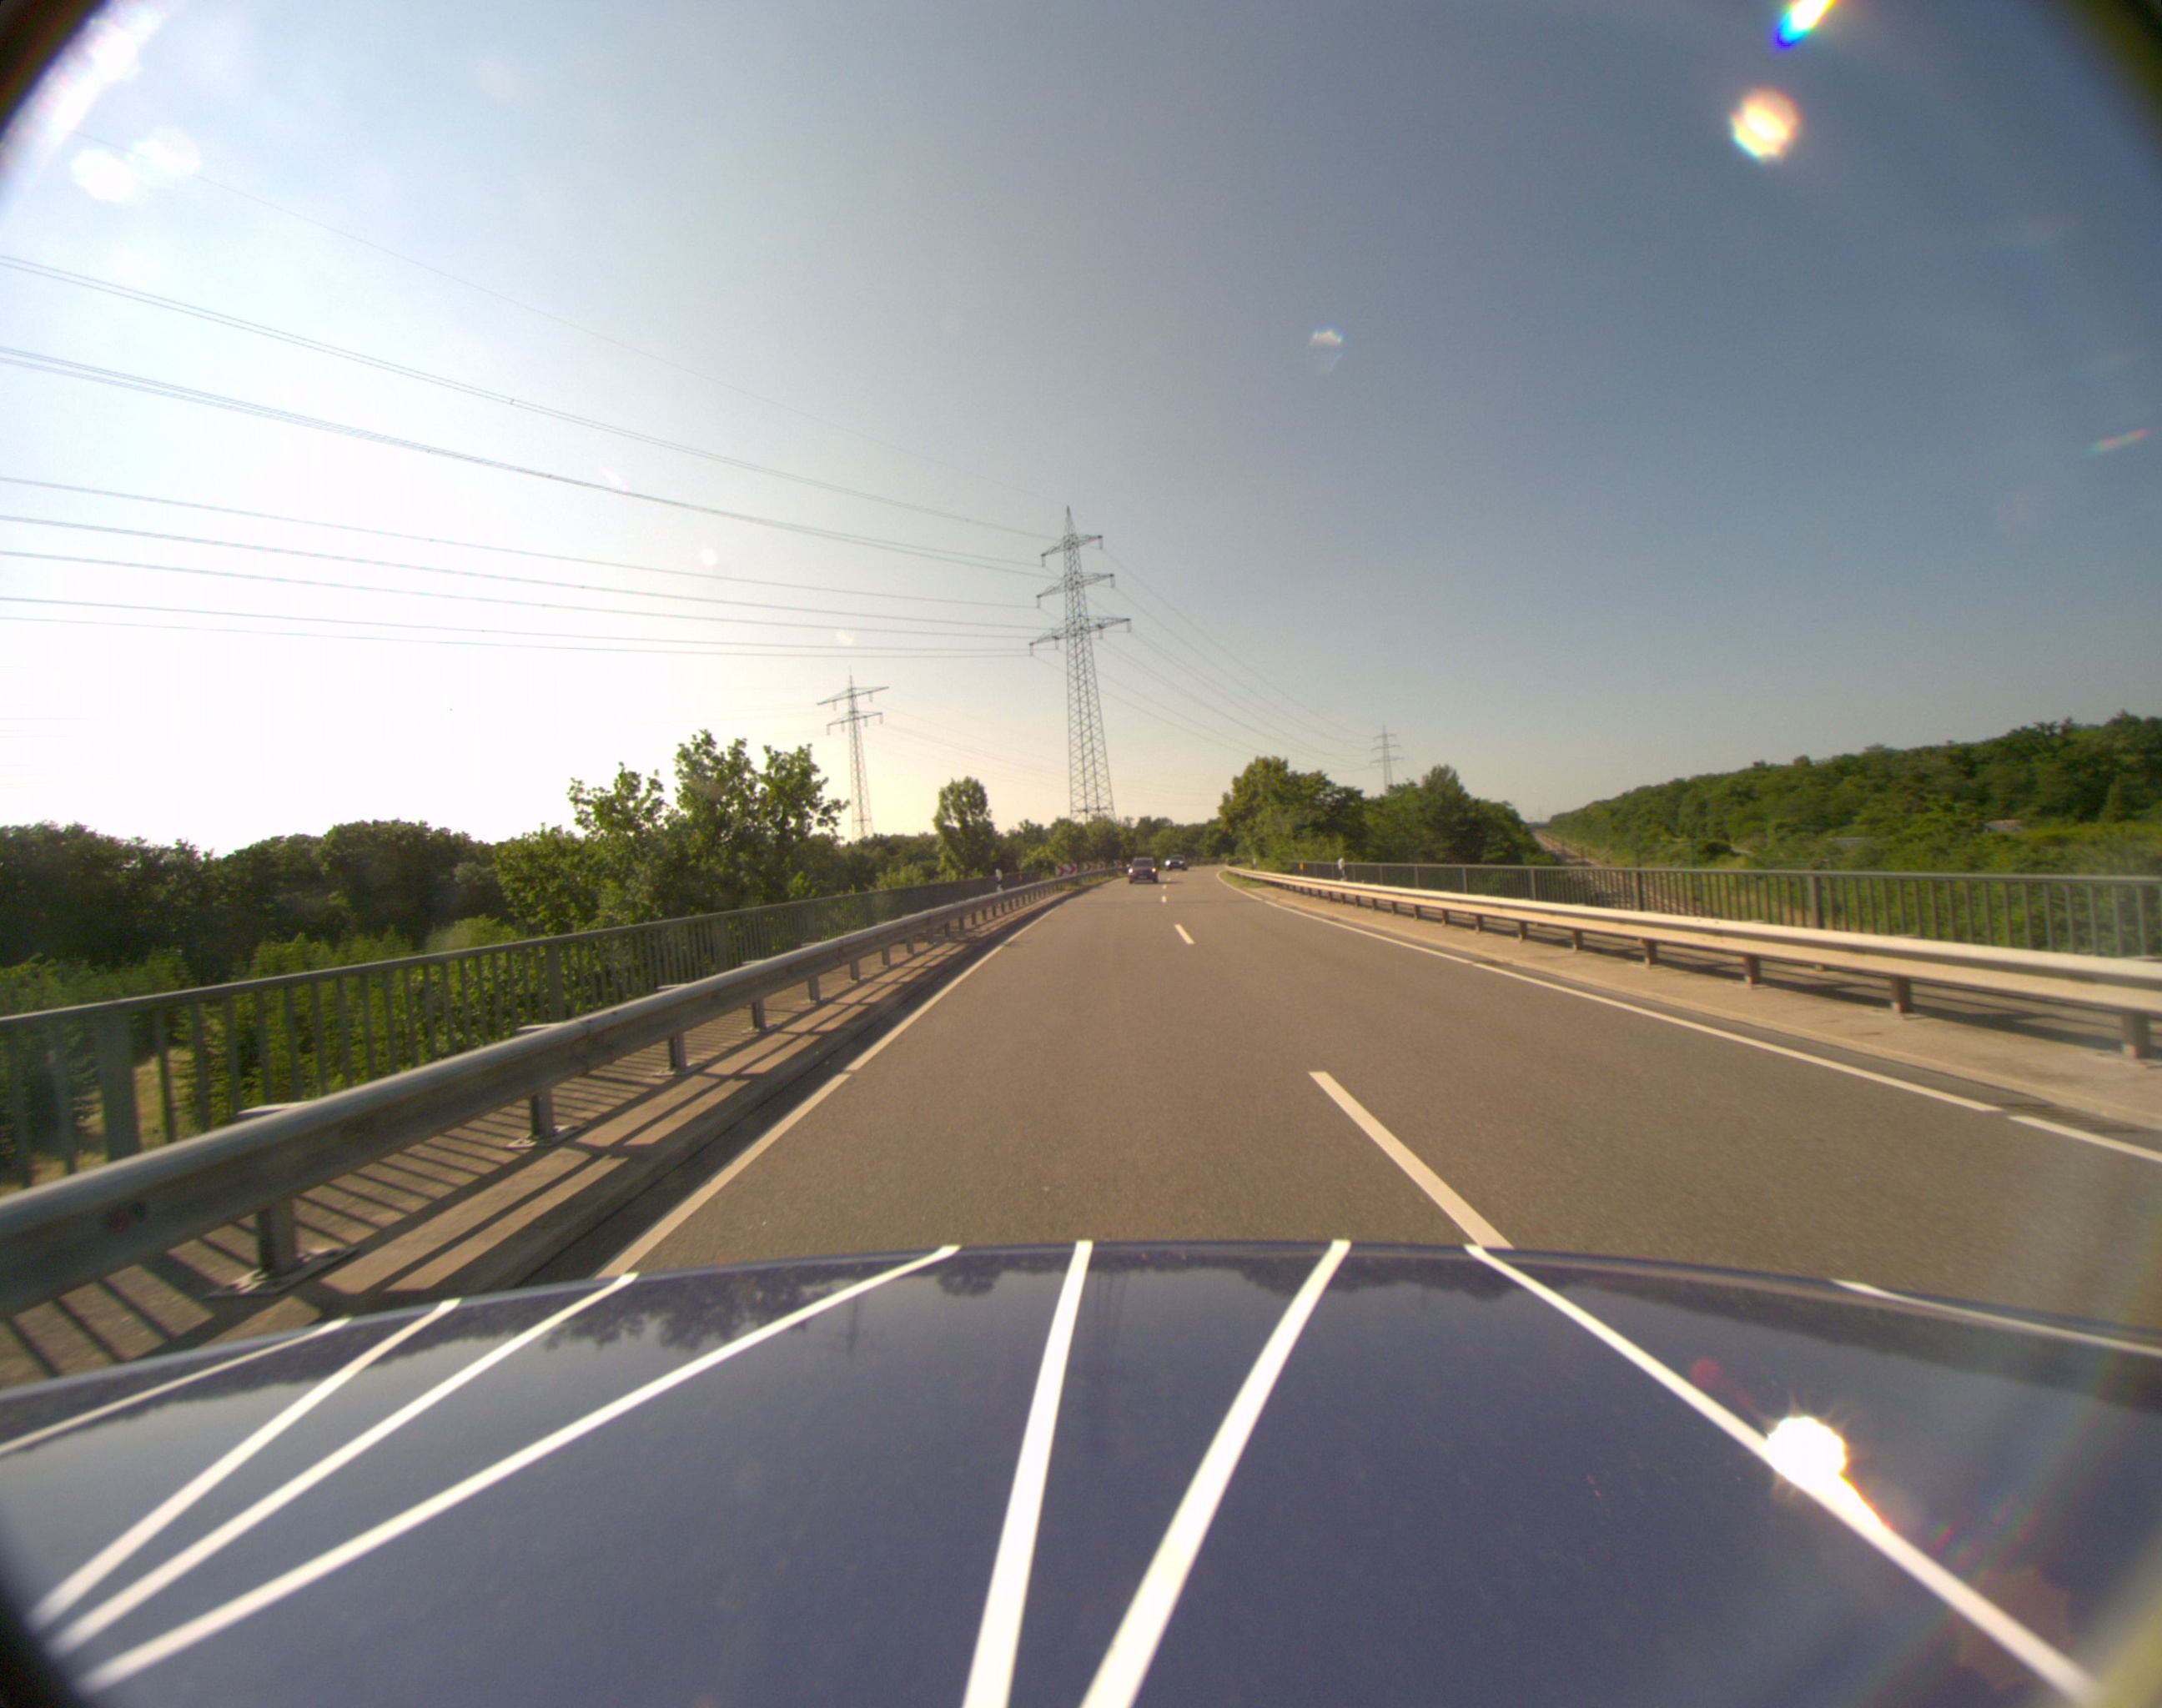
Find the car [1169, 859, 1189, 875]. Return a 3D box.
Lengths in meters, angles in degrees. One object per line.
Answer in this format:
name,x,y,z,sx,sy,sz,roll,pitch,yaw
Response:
car,10.287,1.377,79.698,1.605,1.486,4.003,-2,1,13

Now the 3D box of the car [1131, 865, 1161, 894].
car,3.934,1.507,45.607,1.606,1.486,4.001,-2,1,6
